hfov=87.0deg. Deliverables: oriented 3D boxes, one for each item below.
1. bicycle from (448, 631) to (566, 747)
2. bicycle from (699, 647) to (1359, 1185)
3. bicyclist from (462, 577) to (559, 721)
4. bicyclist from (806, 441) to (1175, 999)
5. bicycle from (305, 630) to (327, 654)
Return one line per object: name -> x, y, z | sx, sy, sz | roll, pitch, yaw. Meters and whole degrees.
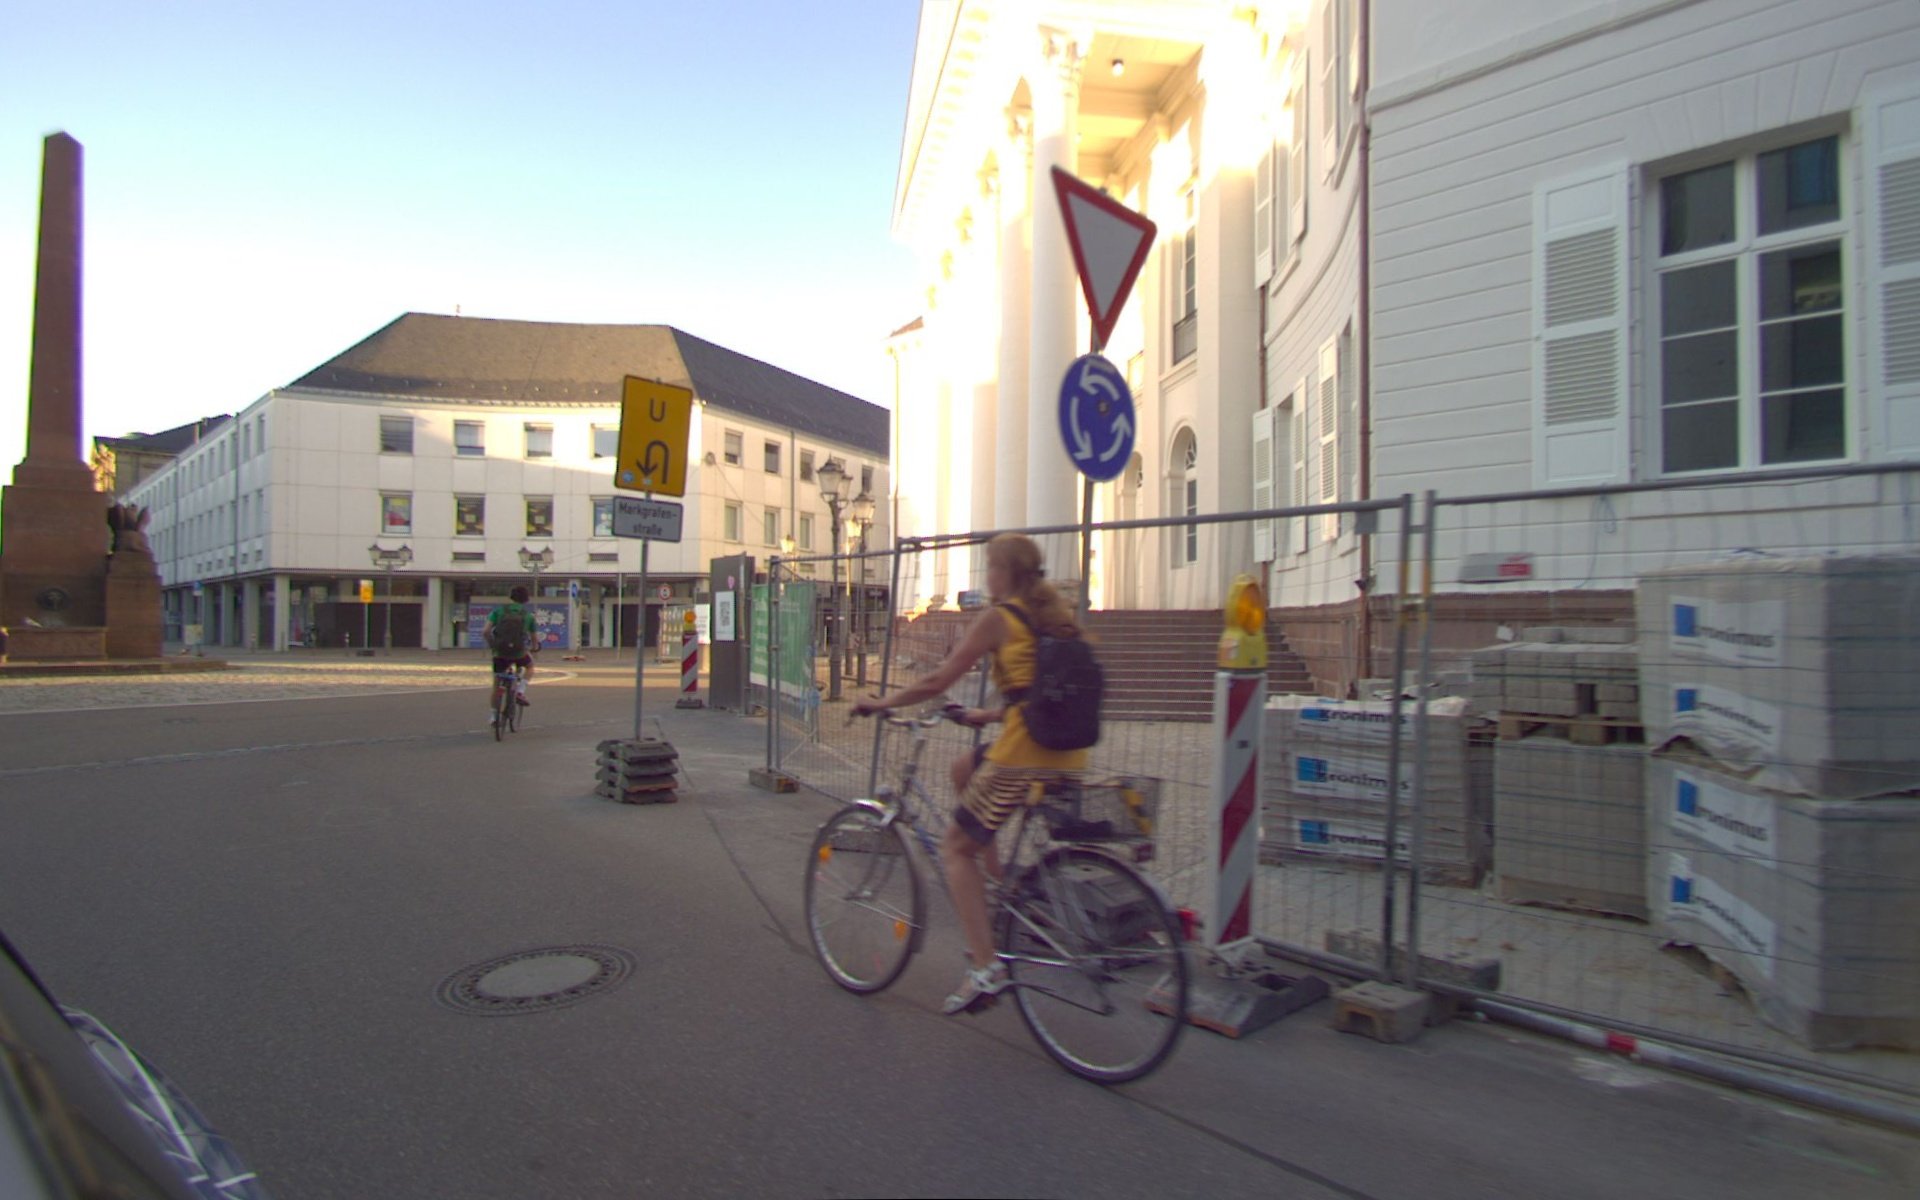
bicycle -> -5.325, 0.990, 12.045 | 0.786, 1.226, 2.238 | 0, -1, -11
bicycle -> 0.087, 0.796, 3.451 | 2.232, 1.226, 0.788 | -1, -2, 42
bicyclist -> -5.321, 0.569, 12.051 | 0.786, 1.615, 1.233 | 0, -2, -11
bicyclist -> 0.096, 0.342, 3.430 | 0.974, 1.544, 0.788 | -1, -2, 41
bicycle -> -31.862, 2.062, 50.043 | 1.950, 1.164, 0.474 | -2, -2, 44
